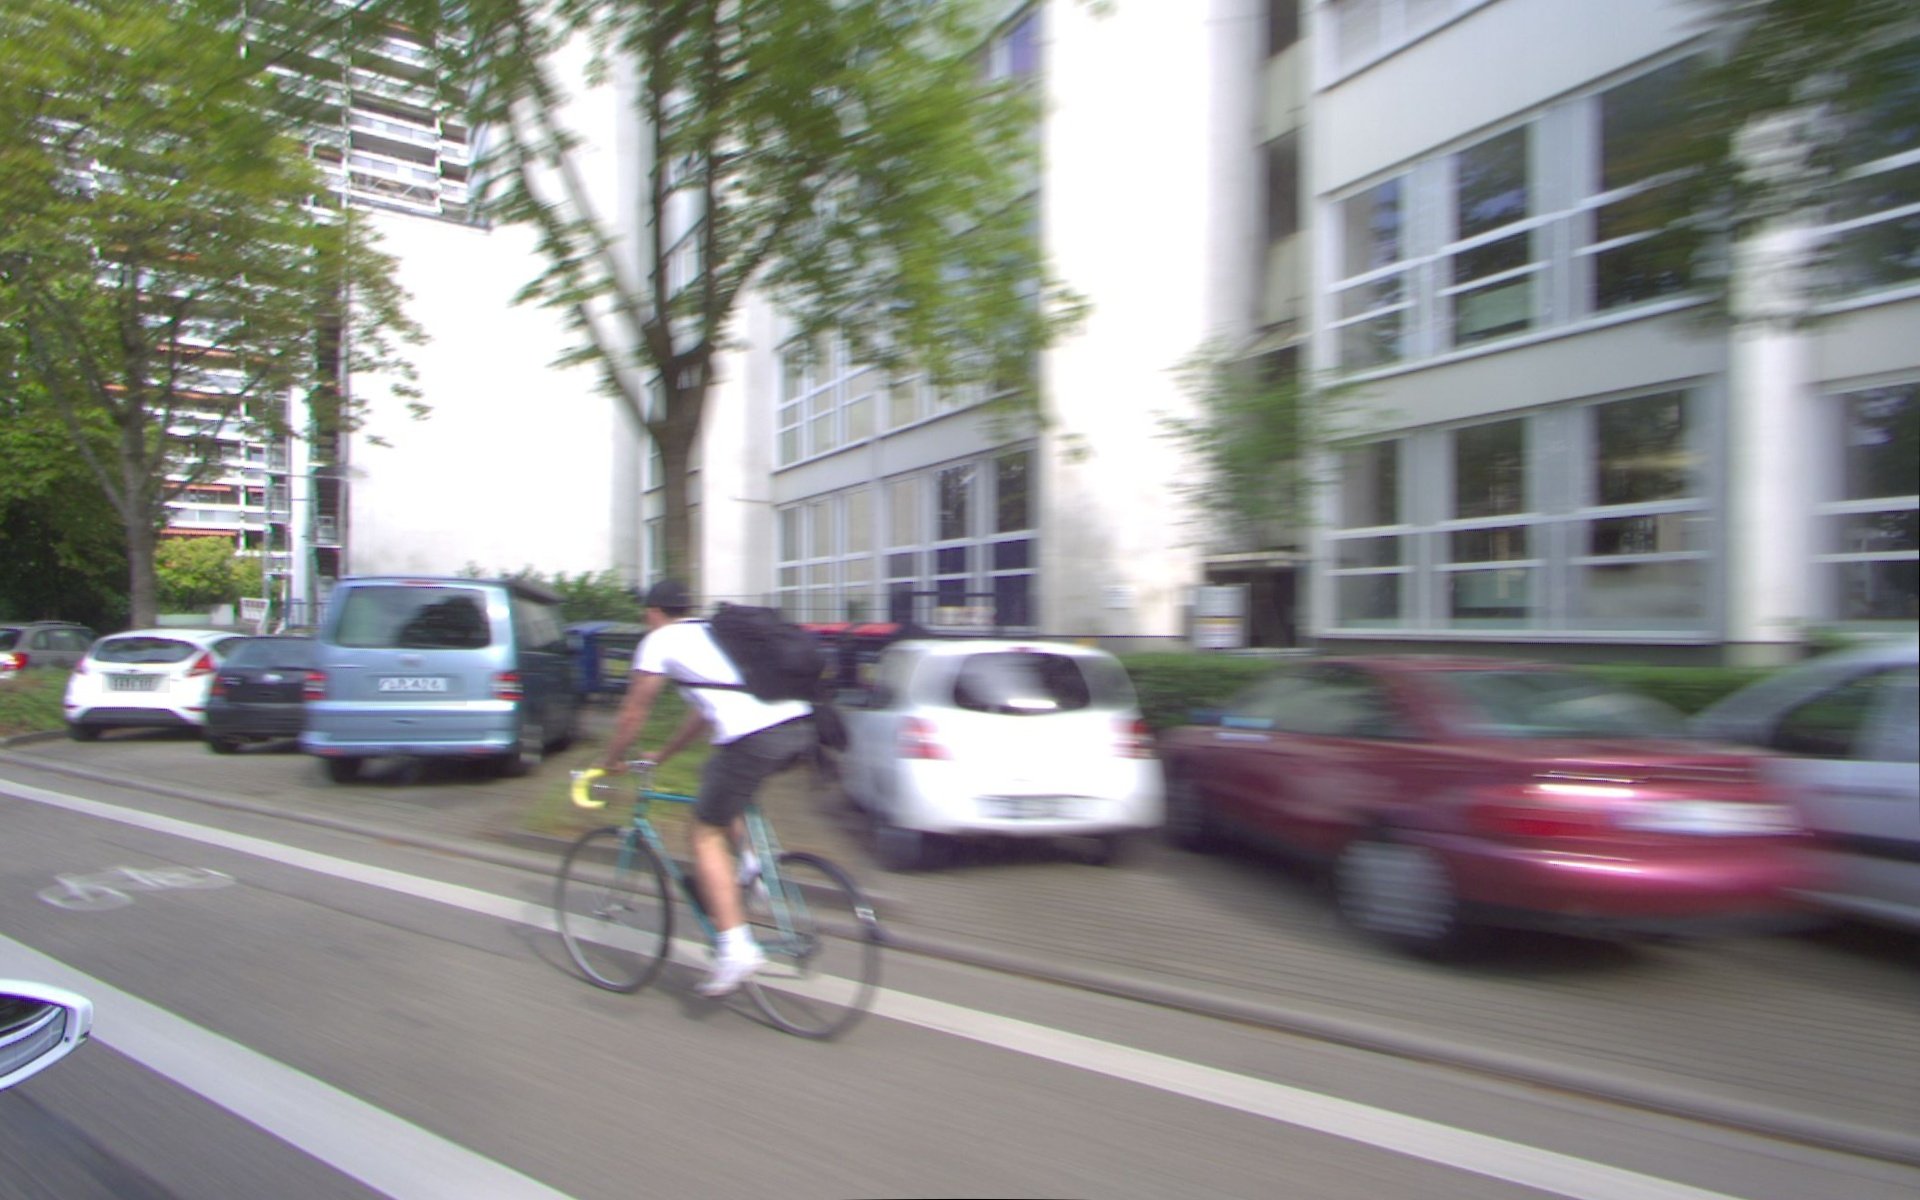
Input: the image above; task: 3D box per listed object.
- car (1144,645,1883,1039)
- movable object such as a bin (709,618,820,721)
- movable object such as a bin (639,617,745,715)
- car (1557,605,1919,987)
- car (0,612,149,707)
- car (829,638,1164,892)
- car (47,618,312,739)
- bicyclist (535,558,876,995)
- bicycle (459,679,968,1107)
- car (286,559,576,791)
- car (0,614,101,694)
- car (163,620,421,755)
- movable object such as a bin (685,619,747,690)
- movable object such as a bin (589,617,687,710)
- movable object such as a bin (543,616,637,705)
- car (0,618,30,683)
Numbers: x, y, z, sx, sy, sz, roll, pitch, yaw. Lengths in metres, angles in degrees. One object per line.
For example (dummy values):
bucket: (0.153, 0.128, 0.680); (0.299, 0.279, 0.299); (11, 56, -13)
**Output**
car: (2.608, 1.017, 5.908); (1.658, 1.451, 3.974); (1, -2, -11)
movable object such as a bin: (-3.065, 1.065, 15.740); (1.304, 1.527, 1.068); (0, -2, 32)
movable object such as a bin: (-4.434, 1.067, 16.576); (1.304, 1.527, 1.068); (0, -2, 32)
car: (5.072, 0.879, 4.551); (1.659, 1.689, 4.105); (1, -2, -14)
car: (-16.512, 1.021, 17.936); (1.610, 1.541, 3.736); (1, -2, -14)
car: (0.018, 1.033, 7.785); (1.659, 1.451, 3.713); (1, -2, -14)
car: (-10.876, 1.035, 14.302); (1.611, 1.478, 3.824); (1, -2, -15)
bicyclist: (-1.011, 0.611, 3.985); (1.161, 1.482, 0.657); (0, -2, 30)
bicycle: (-1.047, 0.997, 4.016); (2.093, 1.265, 0.657); (0, -2, 30)
car: (-5.539, 0.745, 11.110); (1.798, 2.040, 4.272); (1, -2, -14)
car: (-19.645, 1.078, 20.454); (1.610, 1.541, 3.736); (1, -2, -14)
car: (-8.431, 1.041, 13.046); (1.647, 1.478, 3.824); (1, -2, -15)
movable object such as a bin: (-5.604, 1.246, 22.973); (1.022, 1.582, 1.072); (2, -2, -35)
movable object such as a bin: (-5.531, 1.069, 17.228); (1.196, 1.527, 1.068); (0, -2, 32)
movable object such as a bin: (-6.712, 1.079, 18.163); (1.196, 1.527, 1.068); (0, -2, 32)
car: (-22.189, 1.094, 21.479); (1.610, 1.477, 3.736); (1, -2, -14)
